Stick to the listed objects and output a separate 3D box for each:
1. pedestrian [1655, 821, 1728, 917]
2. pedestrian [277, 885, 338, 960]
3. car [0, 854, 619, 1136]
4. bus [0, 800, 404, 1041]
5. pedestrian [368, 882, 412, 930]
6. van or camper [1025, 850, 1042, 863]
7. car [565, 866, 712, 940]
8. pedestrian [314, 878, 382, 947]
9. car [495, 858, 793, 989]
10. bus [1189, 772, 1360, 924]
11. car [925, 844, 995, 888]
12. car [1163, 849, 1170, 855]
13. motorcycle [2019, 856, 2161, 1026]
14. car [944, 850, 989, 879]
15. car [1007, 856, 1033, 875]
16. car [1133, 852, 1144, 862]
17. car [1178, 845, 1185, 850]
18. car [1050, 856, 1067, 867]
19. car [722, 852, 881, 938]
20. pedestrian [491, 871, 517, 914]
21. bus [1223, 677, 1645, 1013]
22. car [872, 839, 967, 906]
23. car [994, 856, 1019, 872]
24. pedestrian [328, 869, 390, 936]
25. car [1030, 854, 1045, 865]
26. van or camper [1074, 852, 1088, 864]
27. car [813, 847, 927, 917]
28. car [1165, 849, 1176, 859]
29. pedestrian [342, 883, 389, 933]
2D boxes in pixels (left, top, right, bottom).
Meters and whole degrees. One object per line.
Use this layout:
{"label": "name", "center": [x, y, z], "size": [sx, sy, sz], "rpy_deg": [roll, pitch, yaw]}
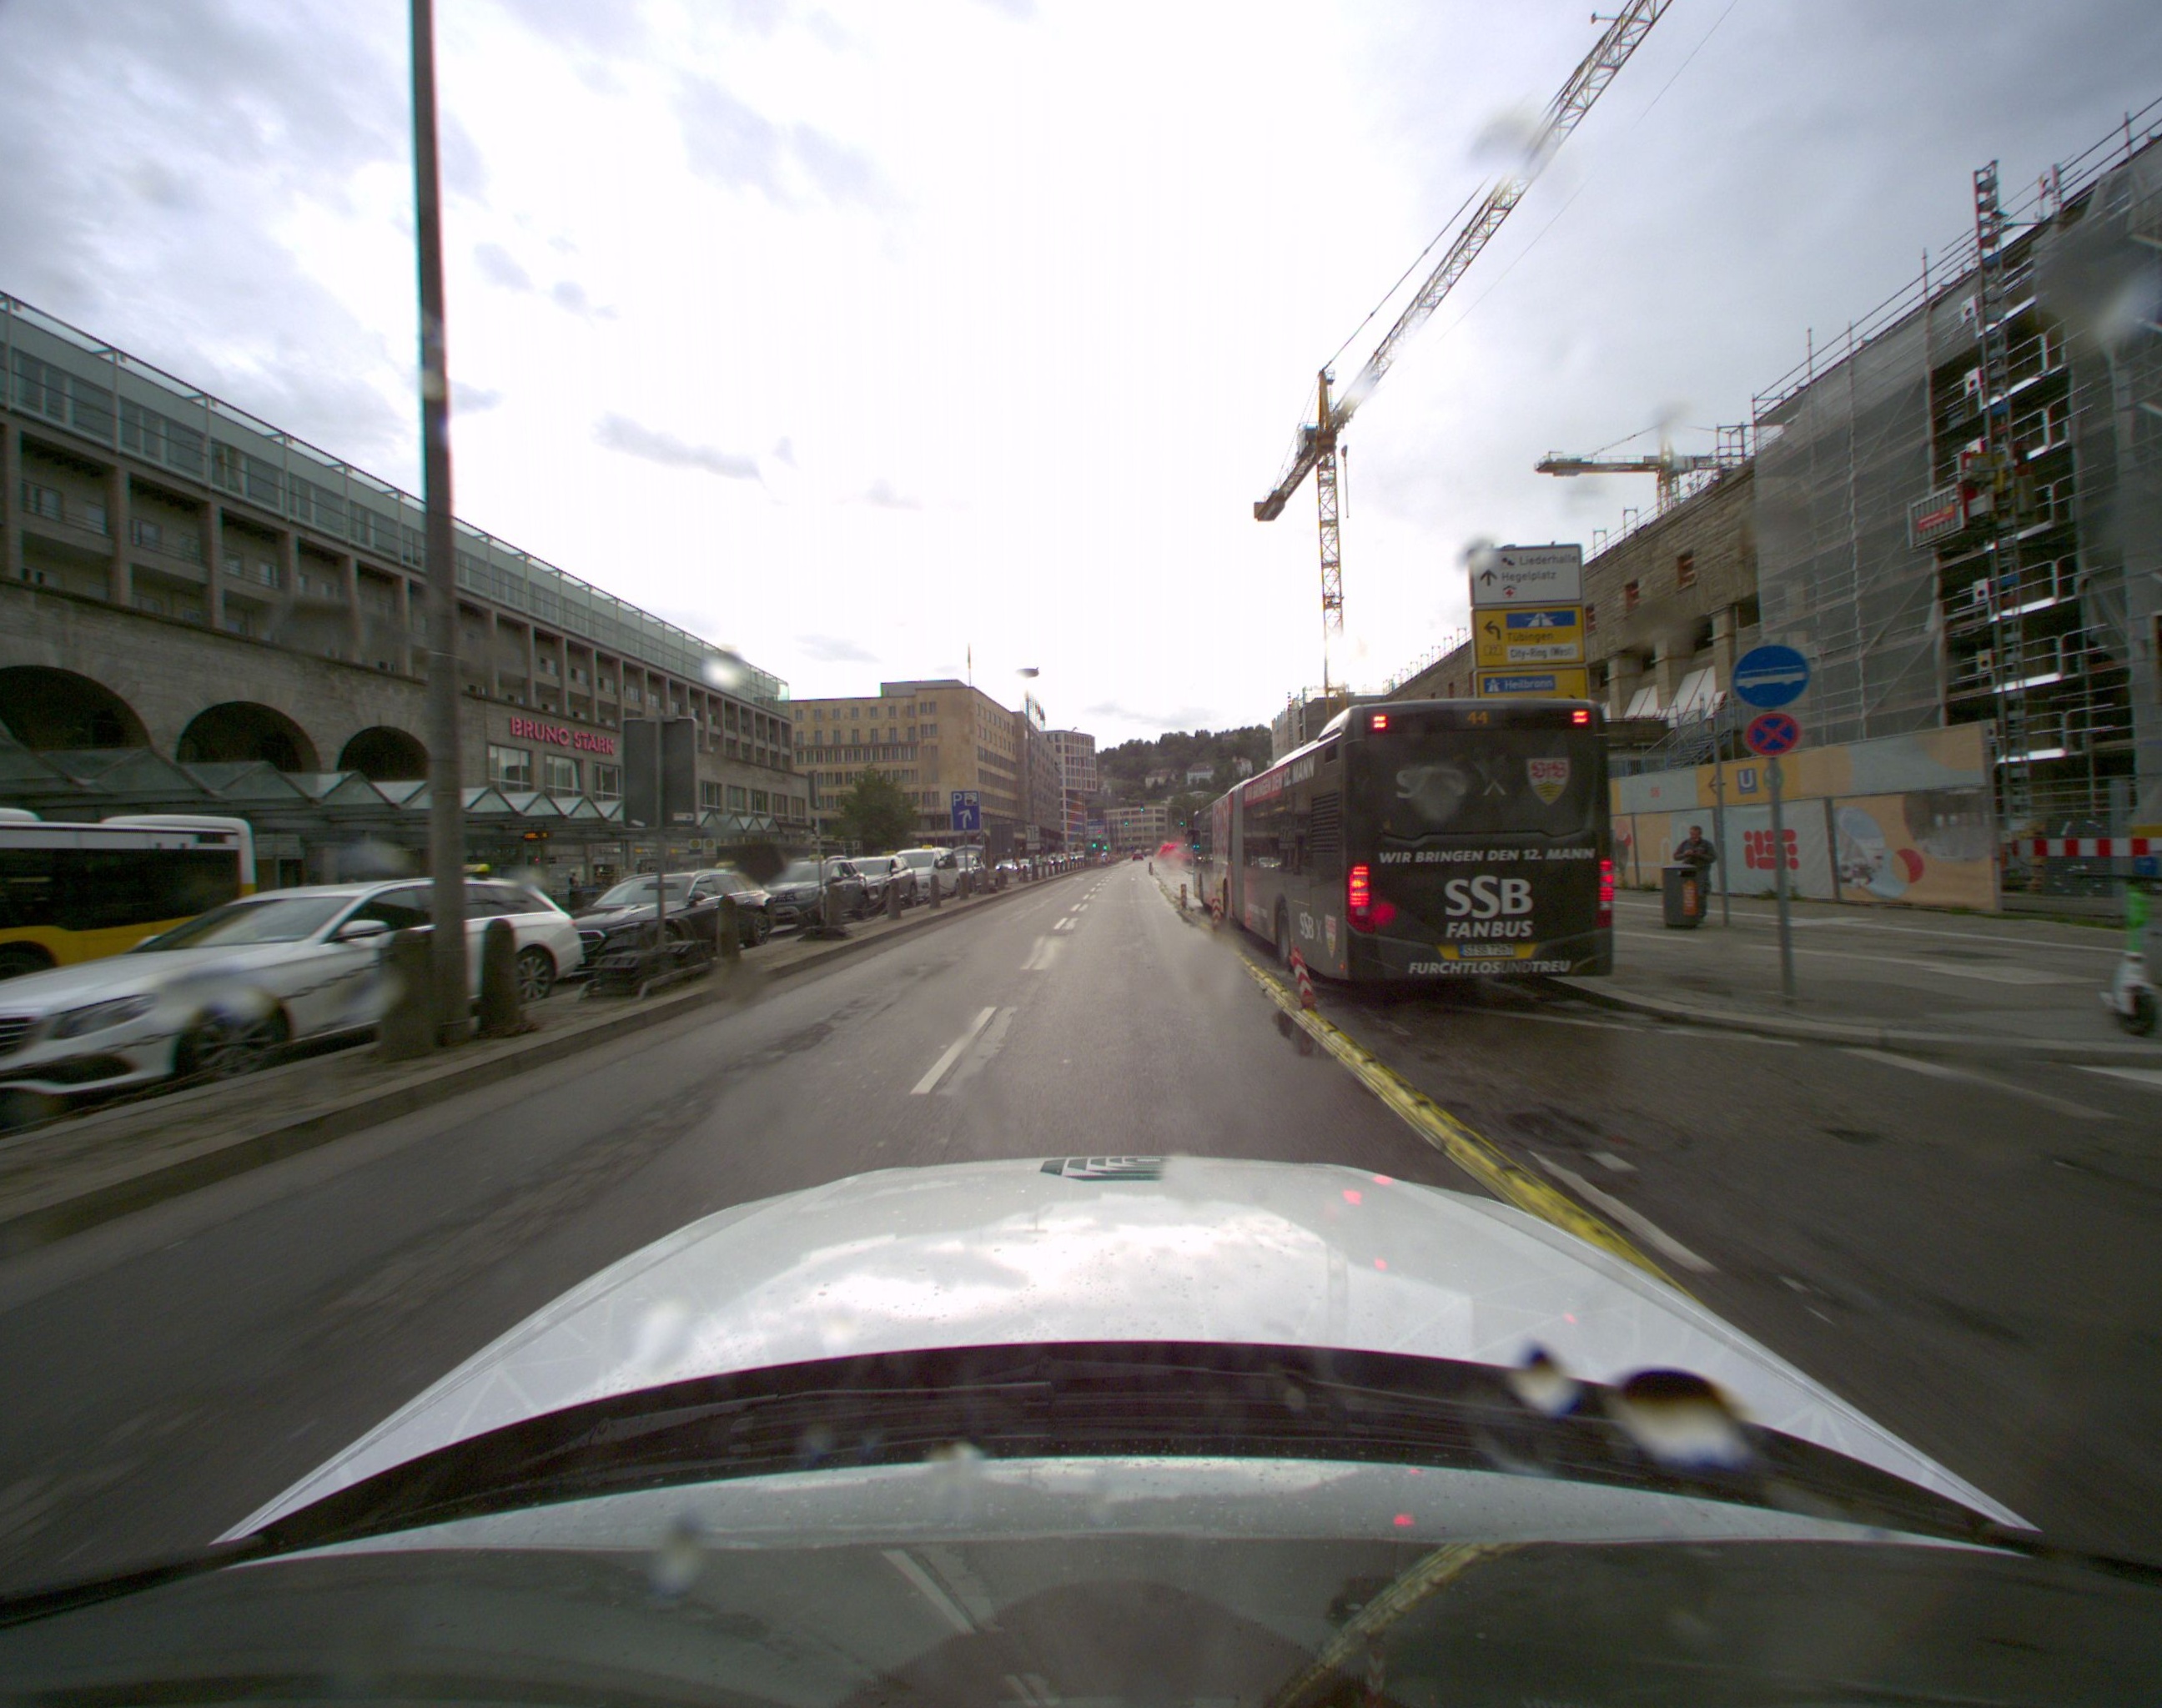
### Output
{"label": "pedestrian", "center": [10.757, 0.262, 14.385], "size": [0.898, 1.635, 0.833], "rpy_deg": [-2, 0, 30]}
{"label": "pedestrian", "center": [-18.853, 1.650, 19.863], "size": [0.621, 1.725, 0.857], "rpy_deg": [-1, 1, 3]}
{"label": "car", "center": [-6.860, 0.895, 7.534], "size": [1.969, 1.659, 5.194], "rpy_deg": [-4, 0, 2]}
{"label": "bus", "center": [-16.913, 0.993, 12.959], "size": [2.865, 3.459, 10.583], "rpy_deg": [-2, 0, 3]}
{"label": "pedestrian", "center": [-24.705, 1.852, 29.121], "size": [0.753, 1.655, 0.895], "rpy_deg": [-1, 1, 5]}
{"label": "van or camper", "center": [-7.845, 0.399, 133.785], "size": [1.984, 2.013, 4.973], "rpy_deg": [-1, 0, 5]}
{"label": "car", "center": [-12.881, 1.364, 24.060], "size": [1.986, 1.828, 4.121], "rpy_deg": [-1, 1, 1]}
{"label": "pedestrian", "center": [-18.782, 1.480, 20.882], "size": [0.736, 1.667, 1.027], "rpy_deg": [-1, 1, 4]}
{"label": "car", "center": [-6.696, 0.931, 13.325], "size": [1.922, 1.576, 5.054], "rpy_deg": [-4, 0, 2]}
{"label": "bus", "center": [4.543, -0.134, 21.141], "size": [2.744, 3.066, 9.000], "rpy_deg": [-1, 0, 3]}
{"label": "car", "center": [-5.238, 0.484, 35.894], "size": [1.984, 1.722, 4.788], "rpy_deg": [-3, 0, 4]}
{"label": "car", "center": [21.873, -0.445, 207.999], "size": [1.811, 1.442, 4.005], "rpy_deg": [-1, 1, 4]}
{"label": "motorcycle", "center": [8.002, 0.614, 6.407], "size": [0.579, 1.166, 1.627], "rpy_deg": [-1, 0, 41]}
{"label": "car", "center": [-6.765, 0.614, 48.346], "size": [1.987, 1.552, 4.000], "rpy_deg": [-3, 0, 0]}
{"label": "car", "center": [-6.102, 1.147, 82.233], "size": [1.954, 1.564, 4.839], "rpy_deg": [-5, 1, 3]}
{"label": "car", "center": [10.178, 0.502, 144.439], "size": [1.985, 1.552, 4.004], "rpy_deg": [-3, 0, 4]}
{"label": "car", "center": [28.072, -1.884, 227.525], "size": [1.984, 1.442, 4.005], "rpy_deg": [-1, 1, 4]}
{"label": "car", "center": [-3.671, 1.273, 134.484], "size": [1.983, 1.616, 4.987], "rpy_deg": [-3, 0, 6]}
{"label": "car", "center": [-6.516, 0.864, 19.701], "size": [1.922, 1.698, 4.887], "rpy_deg": [-4, 0, 2]}
{"label": "pedestrian", "center": [-24.039, 1.595, 33.913], "size": [0.599, 1.725, 0.605], "rpy_deg": [-1, 1, 3]}
{"label": "bus", "center": [4.047, -0.086, 12.089], "size": [2.744, 3.068, 9.087], "rpy_deg": [-1, 0, 3]}
{"label": "car", "center": [-5.854, 0.604, 30.304], "size": [1.985, 2.178, 5.550], "rpy_deg": [-3, 0, 4]}
{"label": "car", "center": [-8.254, 1.094, 90.712], "size": [1.954, 1.564, 4.839], "rpy_deg": [-5, 1, 3]}
{"label": "pedestrian", "center": [-20.299, 1.340, 22.912], "size": [0.736, 1.808, 1.027], "rpy_deg": [-1, 1, 4]}
{"label": "car", "center": [-7.419, 0.952, 139.560], "size": [1.983, 1.838, 4.007], "rpy_deg": [-2, 0, 6]}
{"label": "van or camper", "center": [0.006, 0.737, 145.702], "size": [1.983, 2.013, 5.198], "rpy_deg": [-2, 0, 6]}
{"label": "car", "center": [-6.271, 0.756, 24.812], "size": [1.921, 1.806, 4.587], "rpy_deg": [-4, 0, 3]}
{"label": "car", "center": [16.660, -0.017, 151.717], "size": [1.984, 1.706, 4.005], "rpy_deg": [-3, 0, 4]}
{"label": "pedestrian", "center": [-24.788, 1.867, 28.221], "size": [0.753, 1.655, 0.895], "rpy_deg": [-1, 1, 5]}
